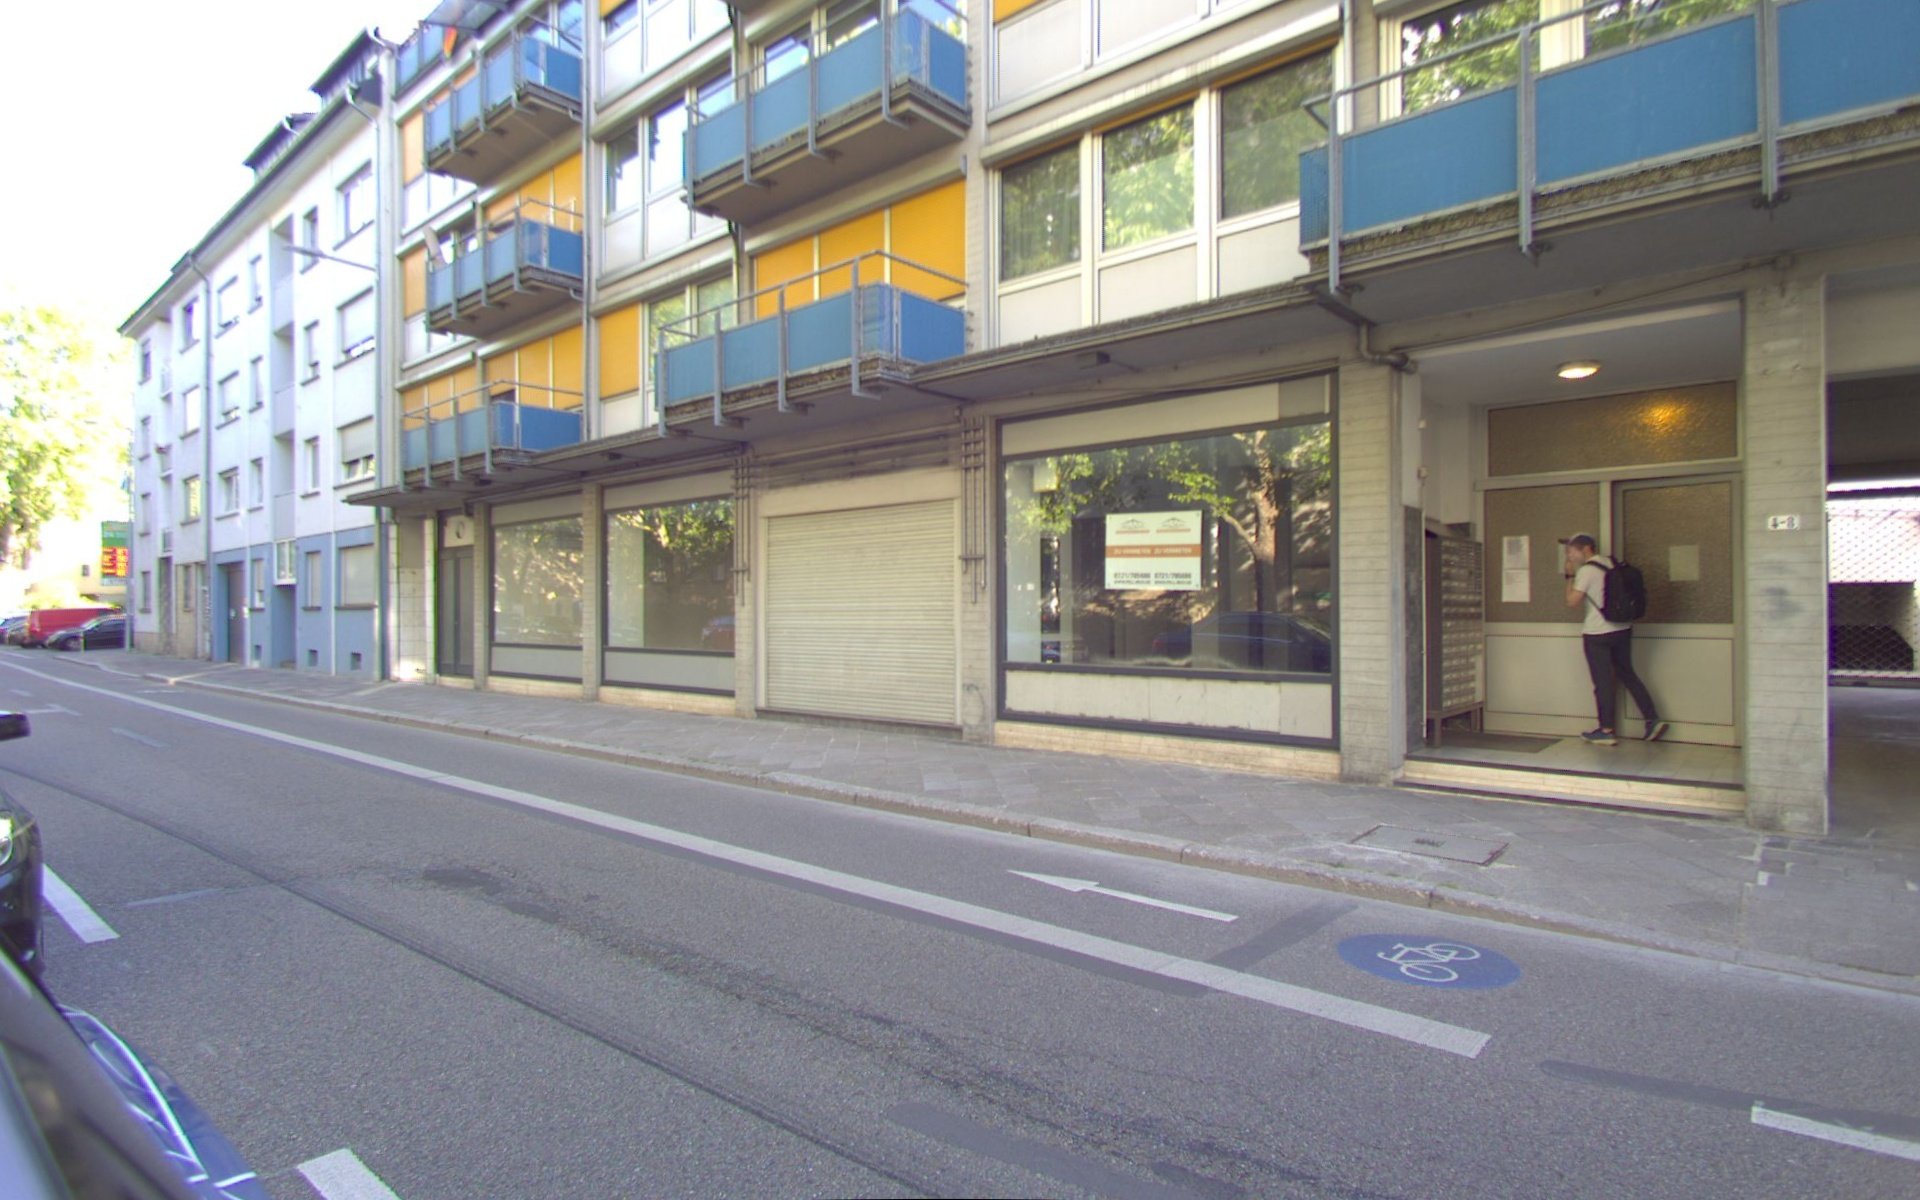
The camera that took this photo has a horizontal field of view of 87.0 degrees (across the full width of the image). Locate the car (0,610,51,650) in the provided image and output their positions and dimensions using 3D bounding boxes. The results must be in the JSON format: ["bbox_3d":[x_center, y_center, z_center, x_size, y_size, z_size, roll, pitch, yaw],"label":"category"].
[{"bbox_3d":[-62.801,1.959,66.793,2.000,2.538,3.944,-1,0,42],"label":"car"}]

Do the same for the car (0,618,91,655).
[{"bbox_3d":[-51.573,2.012,56.837,2.000,1.962,3.944,-1,0,42],"label":"car"}]

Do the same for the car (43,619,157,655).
[{"bbox_3d":[-41.178,1.744,48.534,2.000,1.564,3.944,-1,0,42],"label":"car"}]

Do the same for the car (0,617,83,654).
[{"bbox_3d":[-53.523,2.037,58.620,2.000,1.962,3.944,-1,0,42],"label":"car"}]

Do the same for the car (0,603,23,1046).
[{"bbox_3d":[-5.527,0.806,4.286,4.479,1.512,1.842,-1,-1,41],"label":"car"}]

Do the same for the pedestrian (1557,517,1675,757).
[{"bbox_3d":[5.454,0.293,8.448,0.784,1.894,0.575,-1,0,32],"label":"pedestrian"}]

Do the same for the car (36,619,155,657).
[{"bbox_3d":[-39.760,1.726,46.613,2.000,1.564,3.944,-1,0,42],"label":"car"}]

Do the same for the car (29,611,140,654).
[{"bbox_3d":[-43.433,1.574,50.259,2.000,1.962,3.944,-1,0,42],"label":"car"}]
